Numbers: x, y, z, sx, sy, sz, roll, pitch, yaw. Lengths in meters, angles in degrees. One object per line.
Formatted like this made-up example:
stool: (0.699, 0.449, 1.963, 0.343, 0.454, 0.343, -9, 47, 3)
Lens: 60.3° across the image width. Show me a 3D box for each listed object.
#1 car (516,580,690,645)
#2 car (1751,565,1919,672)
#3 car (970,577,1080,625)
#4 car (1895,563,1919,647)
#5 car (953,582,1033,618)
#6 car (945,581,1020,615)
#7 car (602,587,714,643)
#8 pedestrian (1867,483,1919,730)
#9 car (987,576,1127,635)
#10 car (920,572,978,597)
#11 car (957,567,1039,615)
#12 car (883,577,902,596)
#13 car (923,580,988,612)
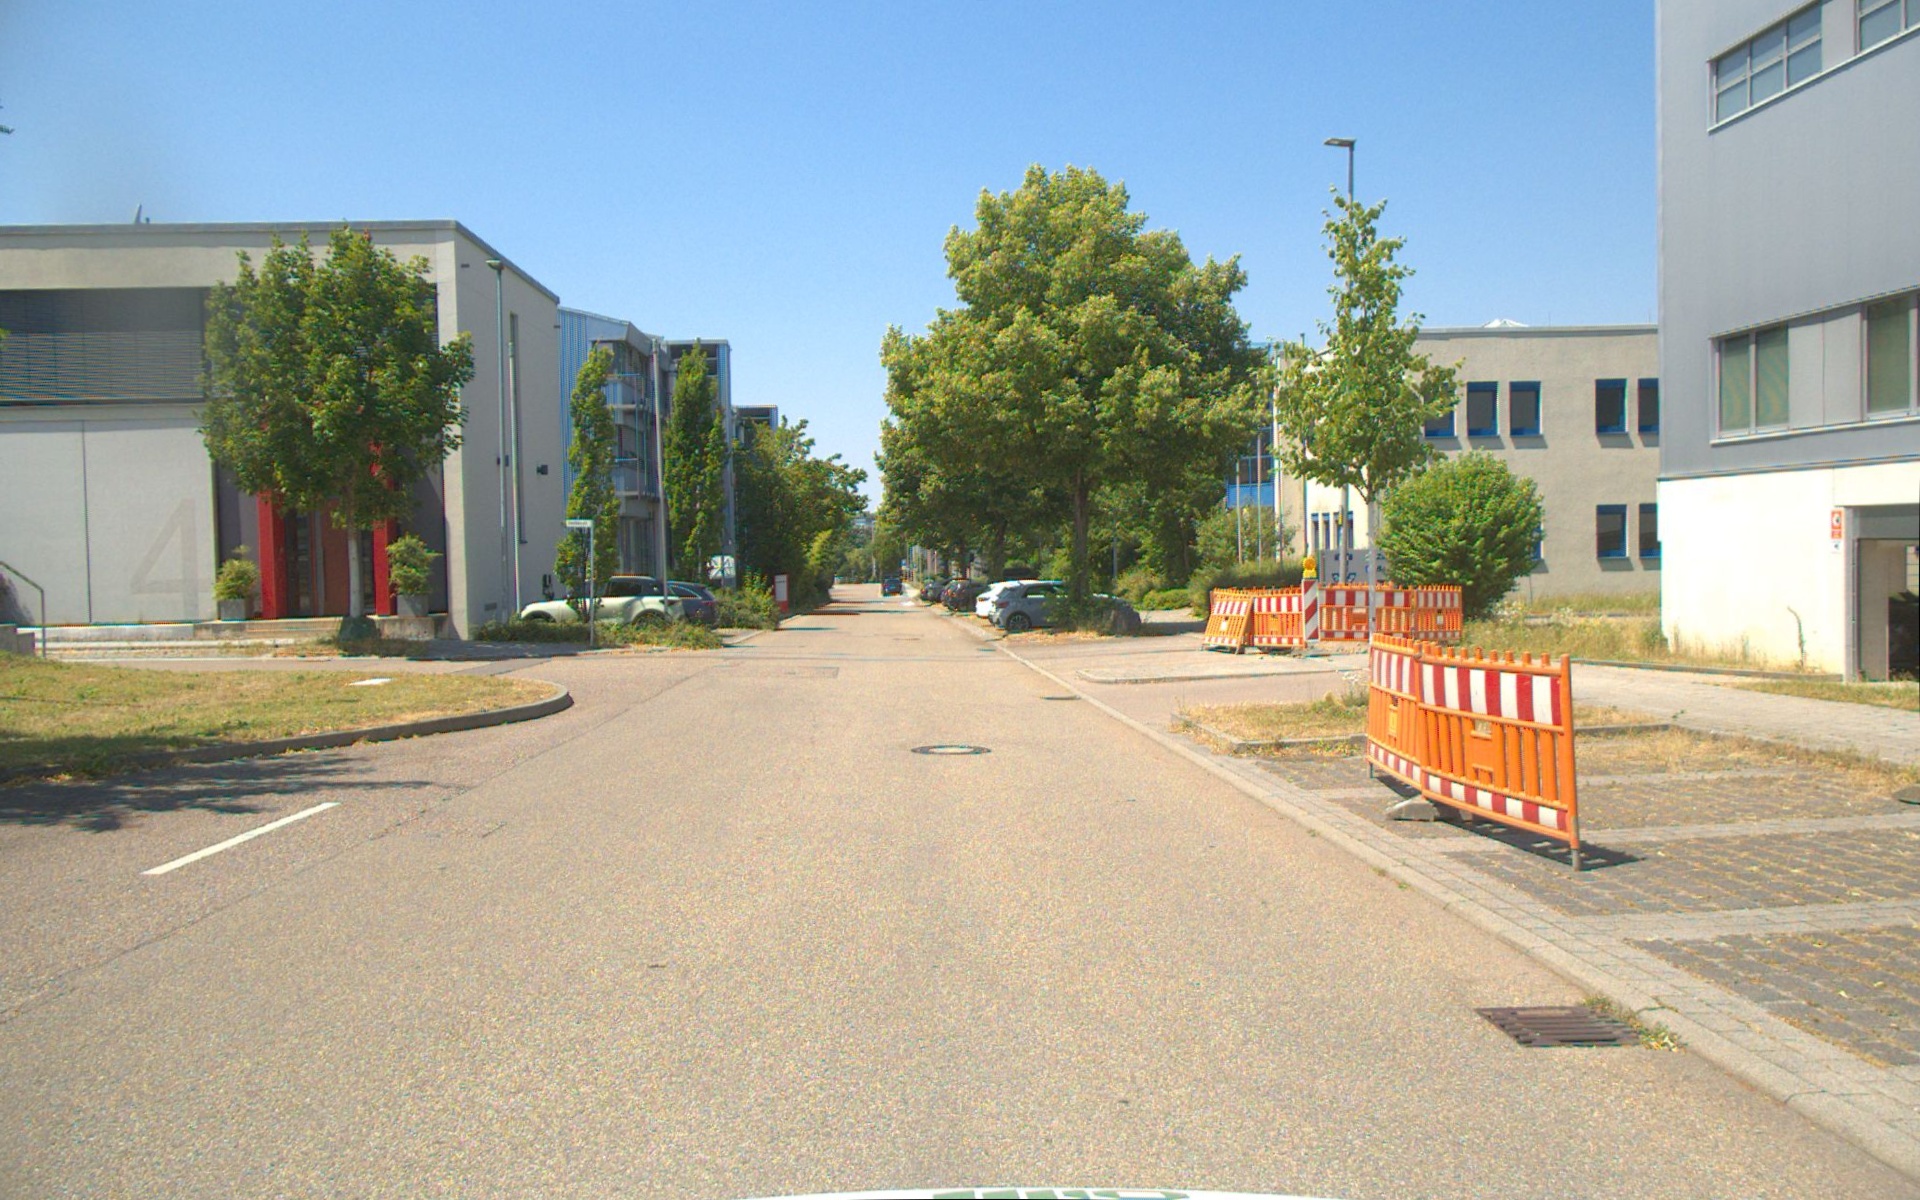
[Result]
car: (-8.712, 0.294, 40.631, 3.967, 1.521, 1.727, -1, 0, -6)
car: (15.463, 0.252, 28.475, 1.789, 1.478, 4.002, -2, 4, 0)
car: (2.186, 0.029, 56.207, 3.450, 1.378, 1.535, -4, 1, -7)
car: (18.197, 0.096, 28.557, 1.843, 1.503, 4.000, 0, 0, 0)
car: (1.551, -0.003, 78.648, 3.648, 1.655, 1.813, -1, 0, -3)
car: (1.120, -0.109, 83.906, 3.648, 1.655, 1.813, -1, 0, -3)
car: (-8.274, 0.394, 45.461, 3.002, 1.504, 1.290, 0, 0, -10)
pedestrian: (7.920, 0.044, 12.933, 0.849, 1.922, 1.208, -1, 1, -18)
car: (2.703, 0.138, 46.486, 3.610, 1.378, 1.643, -4, 1, -7)
car: (-0.790, -1.096, 118.098, 3.861, 1.604, 1.763, -1, 4, -11)
car: (1.717, -0.419, 75.674, 3.648, 2.147, 1.813, -1, 0, -3)
car: (-6.409, -1.280, 156.951, 1.725, 1.786, 3.943, -1, 0, -2)
car: (-0.295, -0.249, 105.777, 3.861, 1.866, 1.763, -1, 4, -11)
